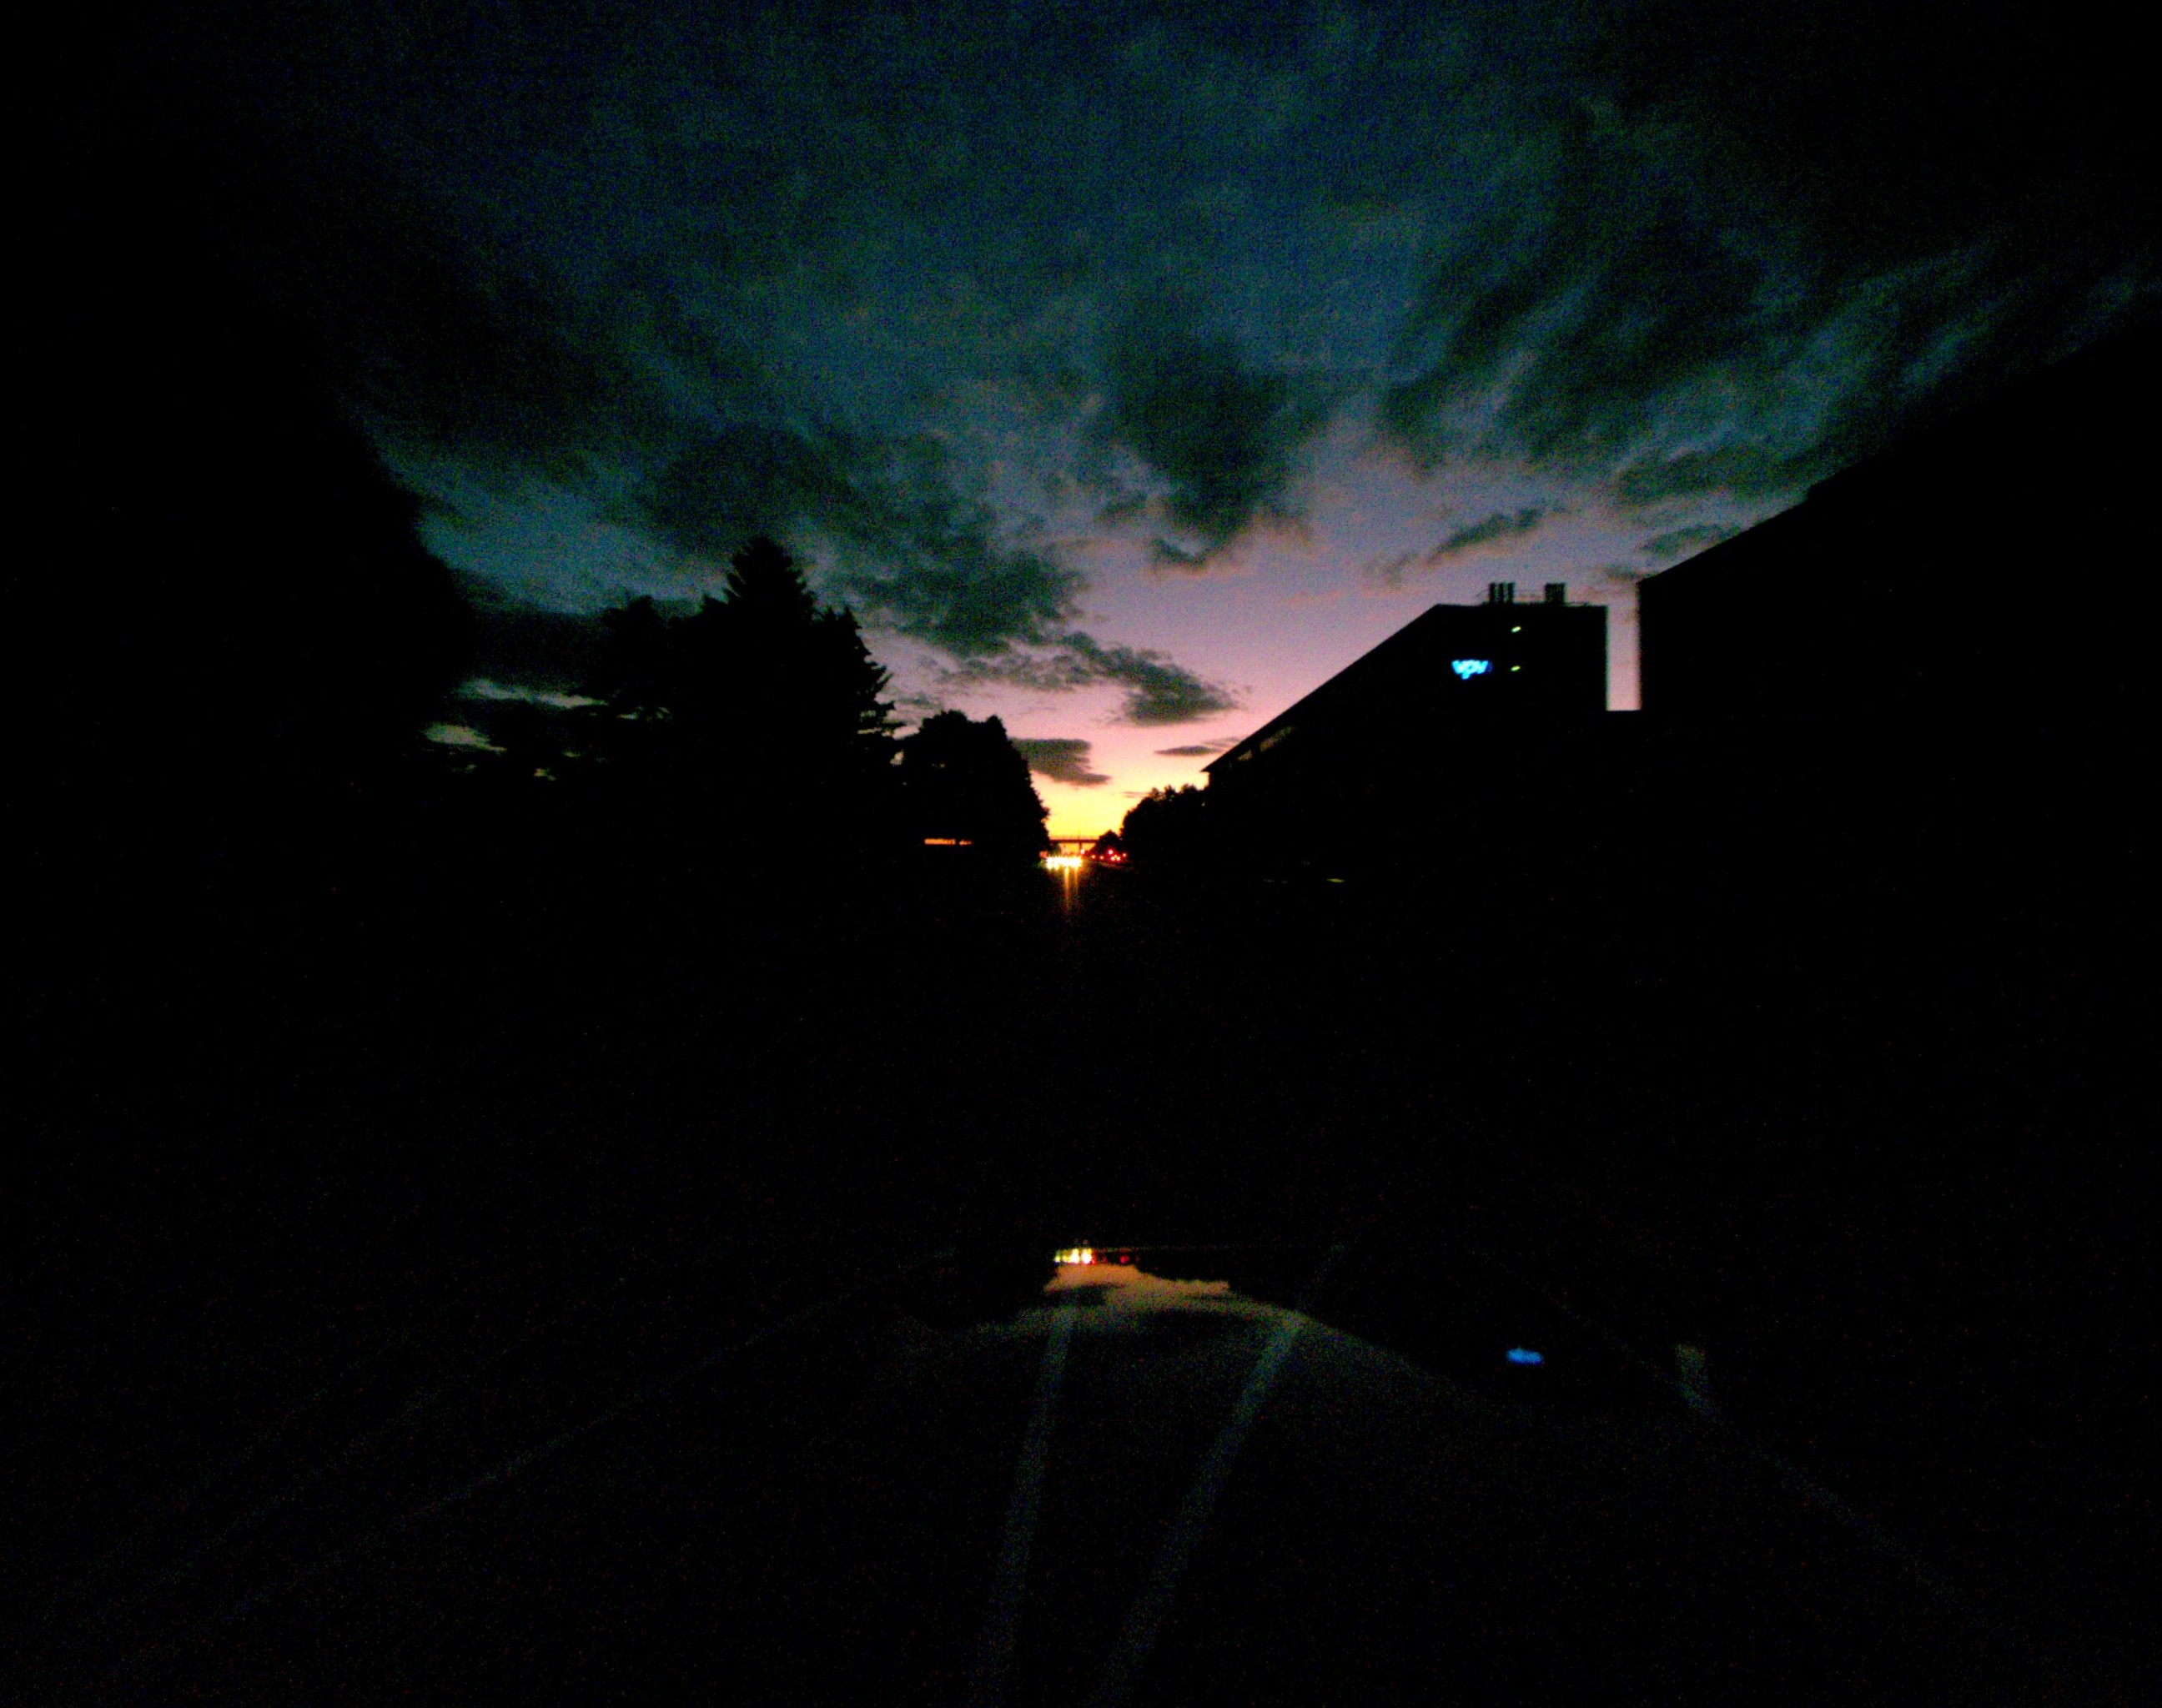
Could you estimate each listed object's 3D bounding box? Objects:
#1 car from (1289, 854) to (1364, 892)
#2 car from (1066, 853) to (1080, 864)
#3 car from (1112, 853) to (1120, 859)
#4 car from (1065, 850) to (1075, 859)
[{"bbox_3d":[10.277,0.756,32.061,1.840,1.460,3.845,1,0,-1],"label":"car"},{"bbox_3d":[-1.009,0.581,96.286,1.756,1.447,3.803,0,0,1],"label":"car"},{"bbox_3d":[7.889,0.456,171.344,1.693,1.372,3.571,0,0,-1],"label":"car"},{"bbox_3d":[-2.590,0.070,180.243,1.861,2.002,4.002,-3,0,7],"label":"car"}]
